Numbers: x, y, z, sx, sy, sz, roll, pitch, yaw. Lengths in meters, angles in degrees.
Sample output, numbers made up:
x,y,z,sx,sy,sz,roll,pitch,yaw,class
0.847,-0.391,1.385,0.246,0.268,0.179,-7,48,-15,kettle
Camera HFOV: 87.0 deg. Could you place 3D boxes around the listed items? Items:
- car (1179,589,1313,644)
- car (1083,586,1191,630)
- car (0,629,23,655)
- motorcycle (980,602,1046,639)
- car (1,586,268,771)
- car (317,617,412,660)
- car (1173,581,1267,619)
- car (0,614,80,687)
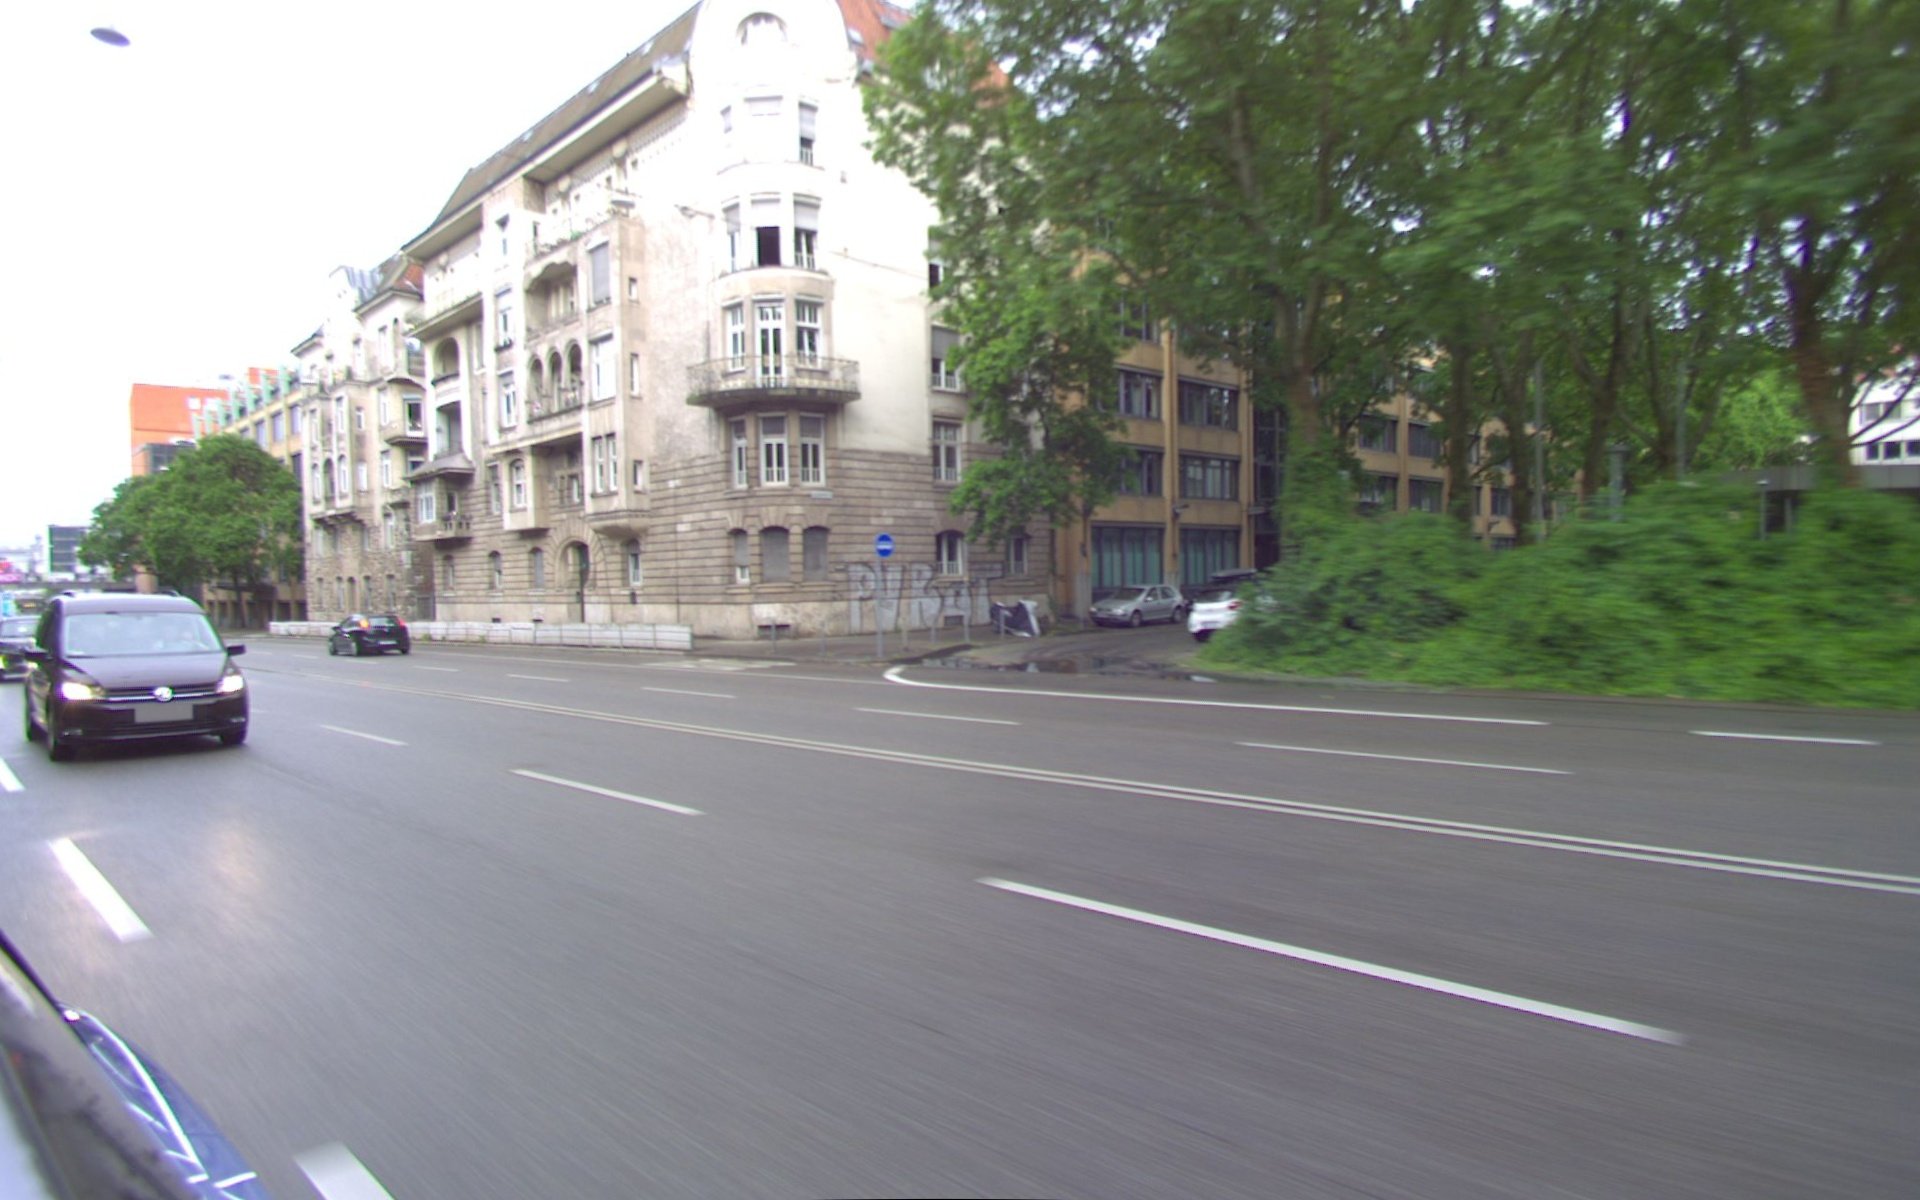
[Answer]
x,y,z,sx,sy,sz,roll,pitch,yaw,class
7.872,0.446,27.749,3.449,1.386,1.783,-1,-1,-38,car
6.355,0.259,36.206,3.939,1.371,1.696,-3,1,-42,car
-60.933,2.657,64.502,1.707,1.522,3.734,-4,2,-43,car
1.691,0.654,32.664,0.497,1.150,2.395,-2,1,-44,motorcycle
-9.803,0.813,11.912,3.999,1.804,1.818,-2,-1,42,car
-20.200,1.278,34.275,3.914,1.349,1.683,-1,0,42,car
10.358,-0.013,40.152,3.939,1.371,1.696,-3,1,-42,car
-23.688,1.229,25.514,3.998,1.625,1.709,-1,2,42,car
